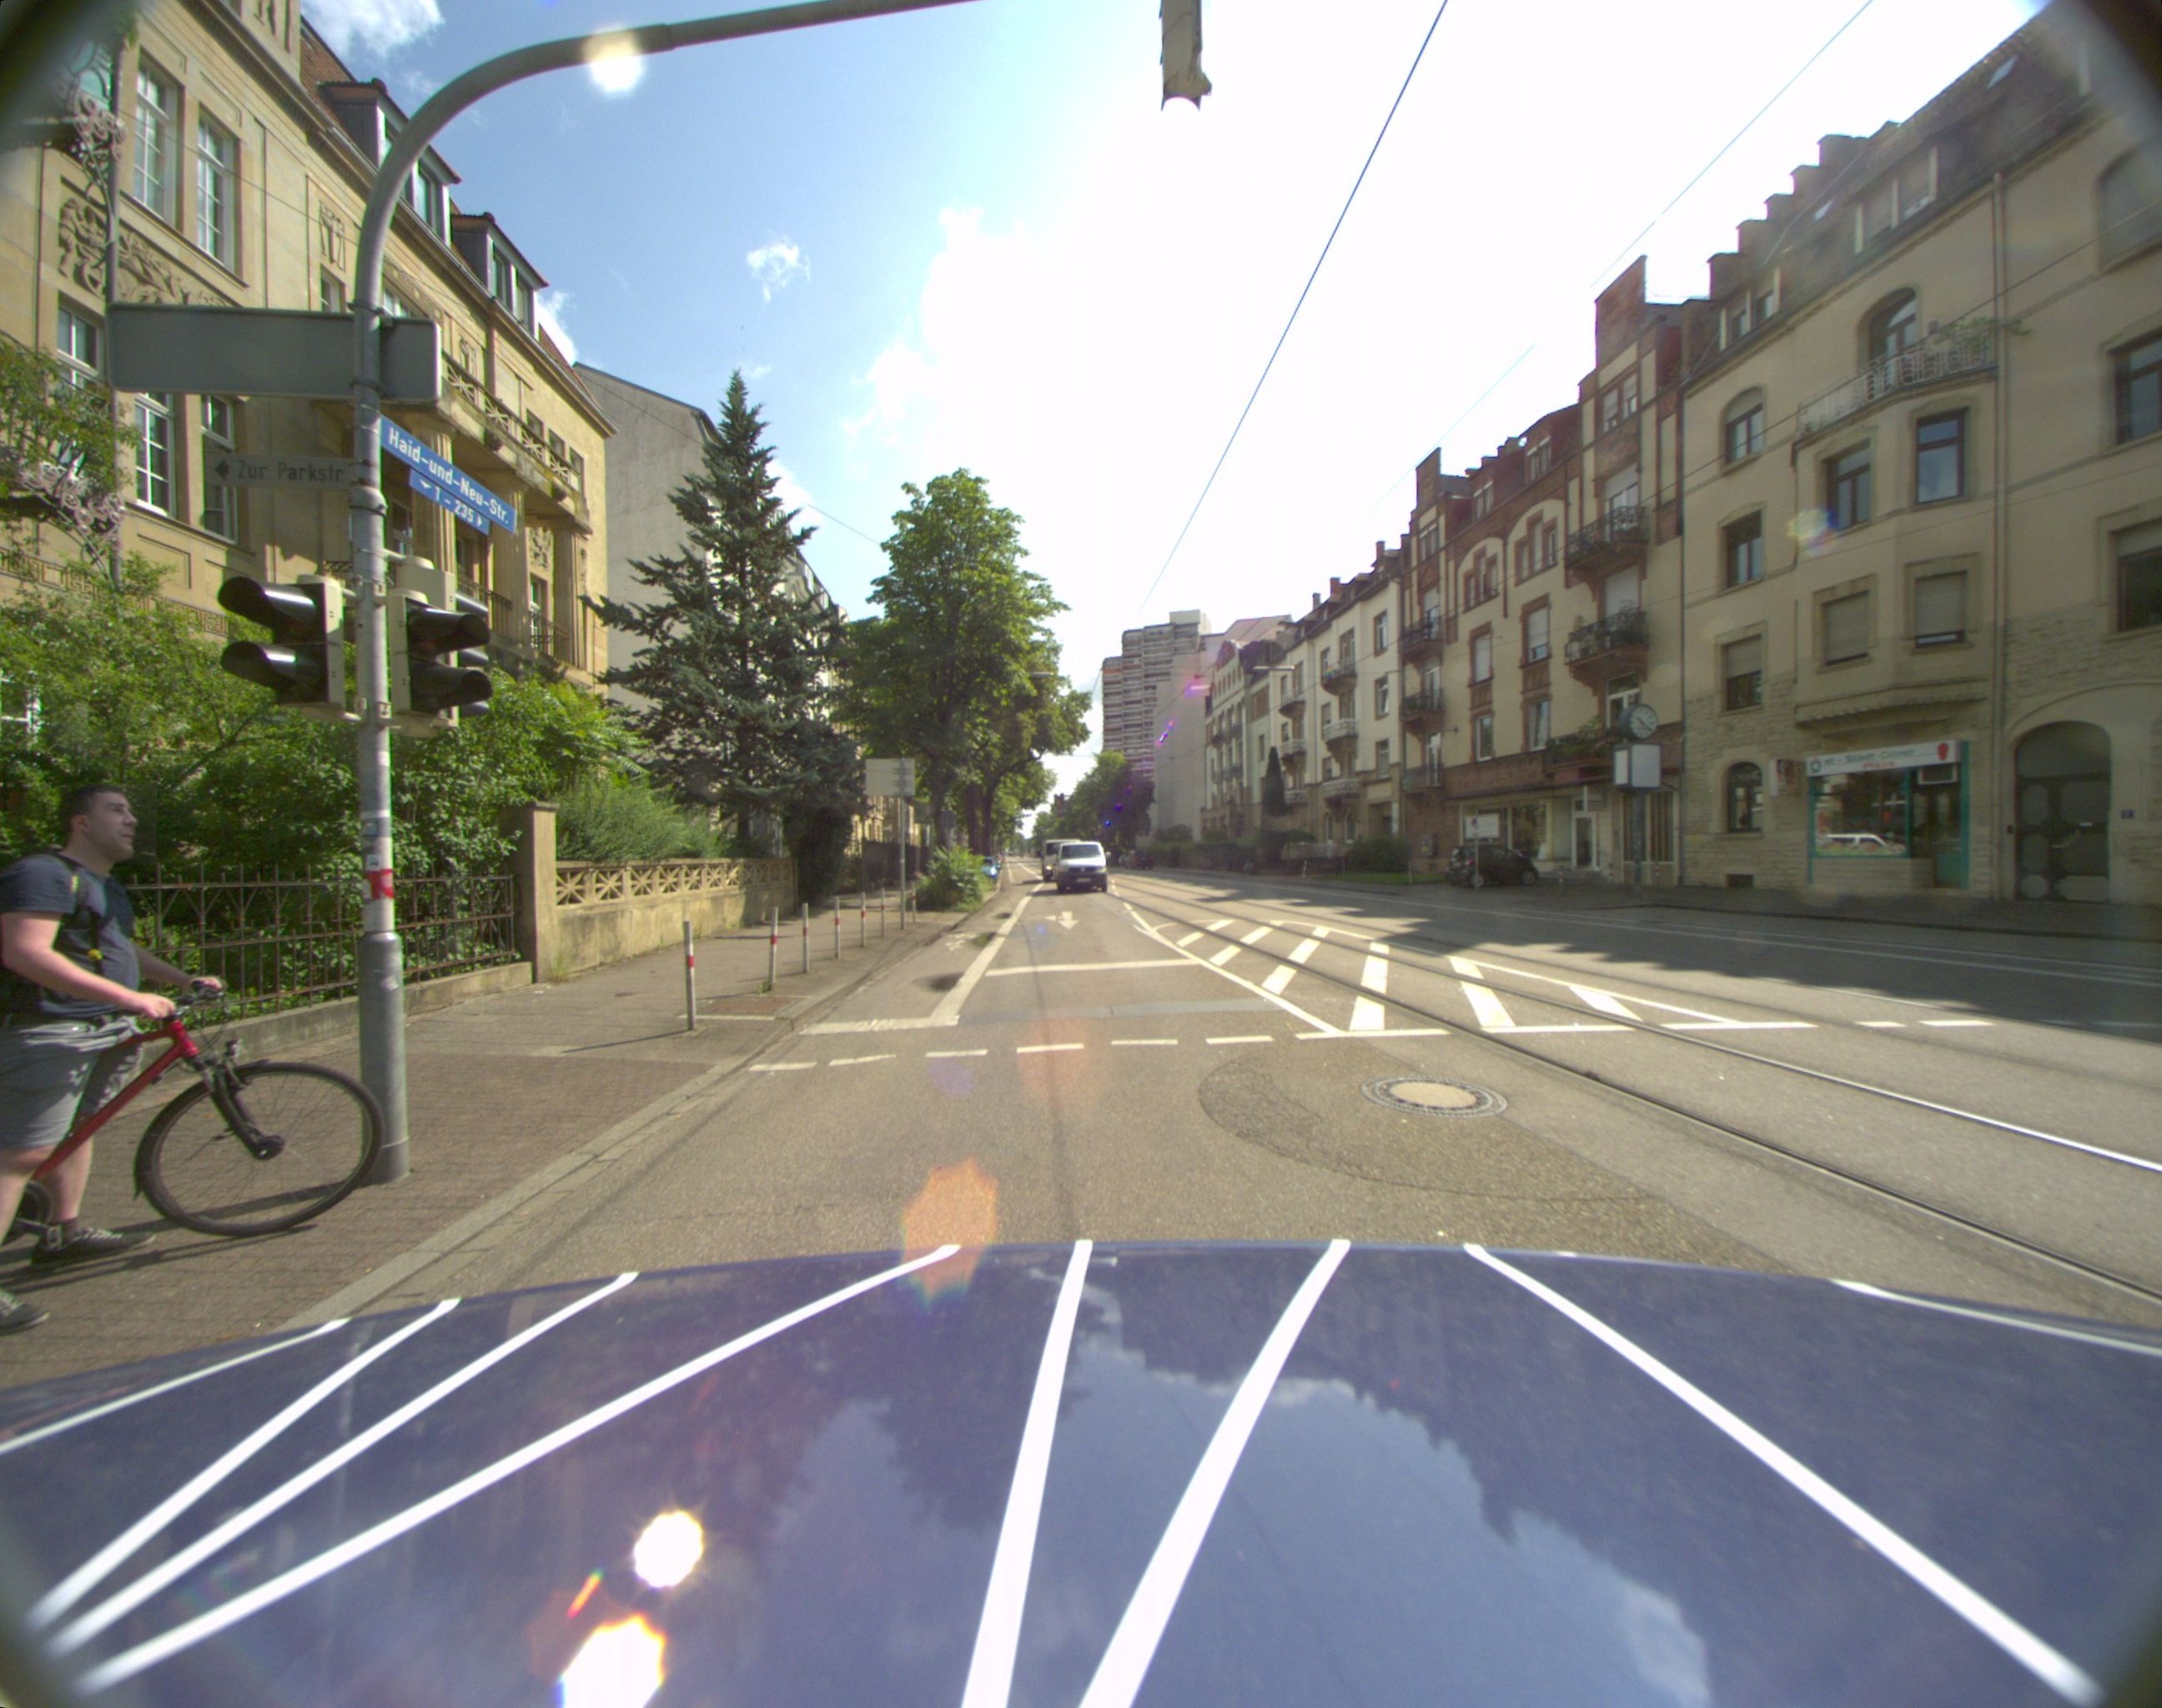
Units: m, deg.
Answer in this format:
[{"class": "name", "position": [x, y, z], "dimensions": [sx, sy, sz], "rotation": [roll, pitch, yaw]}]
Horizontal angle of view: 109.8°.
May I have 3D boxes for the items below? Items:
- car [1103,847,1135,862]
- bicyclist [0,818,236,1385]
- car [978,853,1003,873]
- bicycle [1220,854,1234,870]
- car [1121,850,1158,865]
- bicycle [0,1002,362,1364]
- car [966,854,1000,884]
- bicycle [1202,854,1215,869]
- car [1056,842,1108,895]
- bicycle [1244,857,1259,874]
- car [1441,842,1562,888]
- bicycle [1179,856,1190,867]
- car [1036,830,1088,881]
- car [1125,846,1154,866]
[{"class": "car", "position": [4.985, 0.046, 100.168], "dimensions": [3.998, 1.914, 1.830], "rotation": [-1, 1, -3]}, {"class": "bicyclist", "position": [-3.773, 0.793, 2.711], "dimensions": [0.736, 1.809, 0.818], "rotation": [-1, 1, -28]}, {"class": "car", "position": [-6.900, 0.656, 58.285], "dimensions": [1.725, 1.443, 3.924], "rotation": [1, 0, -5]}, {"class": "bicycle", "position": [9.778, 0.524, 50.781], "dimensions": [0.540, 1.024, 1.872], "rotation": [-1, 1, -1]}, {"class": "car", "position": [6.465, 0.394, 83.990], "dimensions": [3.891, 1.527, 1.634], "rotation": [-1, 1, -4]}, {"class": "bicycle", "position": [-3.783, 1.186, 2.619], "dimensions": [0.389, 1.029, 1.849], "rotation": [0, 0, 40]}, {"class": "car", "position": [-5.116, 0.771, 39.944], "dimensions": [1.642, 1.447, 3.696], "rotation": [1, 0, -6]}, {"class": "bicycle", "position": [9.283, 0.529, 55.282], "dimensions": [0.587, 0.980, 1.872], "rotation": [-1, 1, -1]}, {"class": "car", "position": [-0.043, 0.519, 29.936], "dimensions": [1.831, 1.856, 4.844], "rotation": [-2, 1, -2]}, {"class": "bicycle", "position": [10.139, 0.697, 45.216], "dimensions": [0.524, 0.901, 2.066], "rotation": [-1, 2, 2]}, {"class": "car", "position": [15.226, 0.382, 27.623], "dimensions": [3.454, 1.478, 1.705], "rotation": [-3, 1, -4]}, {"class": "bicycle", "position": [8.369, 0.585, 61.379], "dimensions": [0.587, 0.792, 1.872], "rotation": [-3, 1, -1]}, {"class": "car", "position": [-1.126, 0.050, 41.856], "dimensions": [2.169, 2.572, 5.659], "rotation": [-1, 1, -8]}, {"class": "car", "position": [5.174, 0.172, 67.906], "dimensions": [1.797, 1.701, 4.329], "rotation": [-1, 0, -6]}]
